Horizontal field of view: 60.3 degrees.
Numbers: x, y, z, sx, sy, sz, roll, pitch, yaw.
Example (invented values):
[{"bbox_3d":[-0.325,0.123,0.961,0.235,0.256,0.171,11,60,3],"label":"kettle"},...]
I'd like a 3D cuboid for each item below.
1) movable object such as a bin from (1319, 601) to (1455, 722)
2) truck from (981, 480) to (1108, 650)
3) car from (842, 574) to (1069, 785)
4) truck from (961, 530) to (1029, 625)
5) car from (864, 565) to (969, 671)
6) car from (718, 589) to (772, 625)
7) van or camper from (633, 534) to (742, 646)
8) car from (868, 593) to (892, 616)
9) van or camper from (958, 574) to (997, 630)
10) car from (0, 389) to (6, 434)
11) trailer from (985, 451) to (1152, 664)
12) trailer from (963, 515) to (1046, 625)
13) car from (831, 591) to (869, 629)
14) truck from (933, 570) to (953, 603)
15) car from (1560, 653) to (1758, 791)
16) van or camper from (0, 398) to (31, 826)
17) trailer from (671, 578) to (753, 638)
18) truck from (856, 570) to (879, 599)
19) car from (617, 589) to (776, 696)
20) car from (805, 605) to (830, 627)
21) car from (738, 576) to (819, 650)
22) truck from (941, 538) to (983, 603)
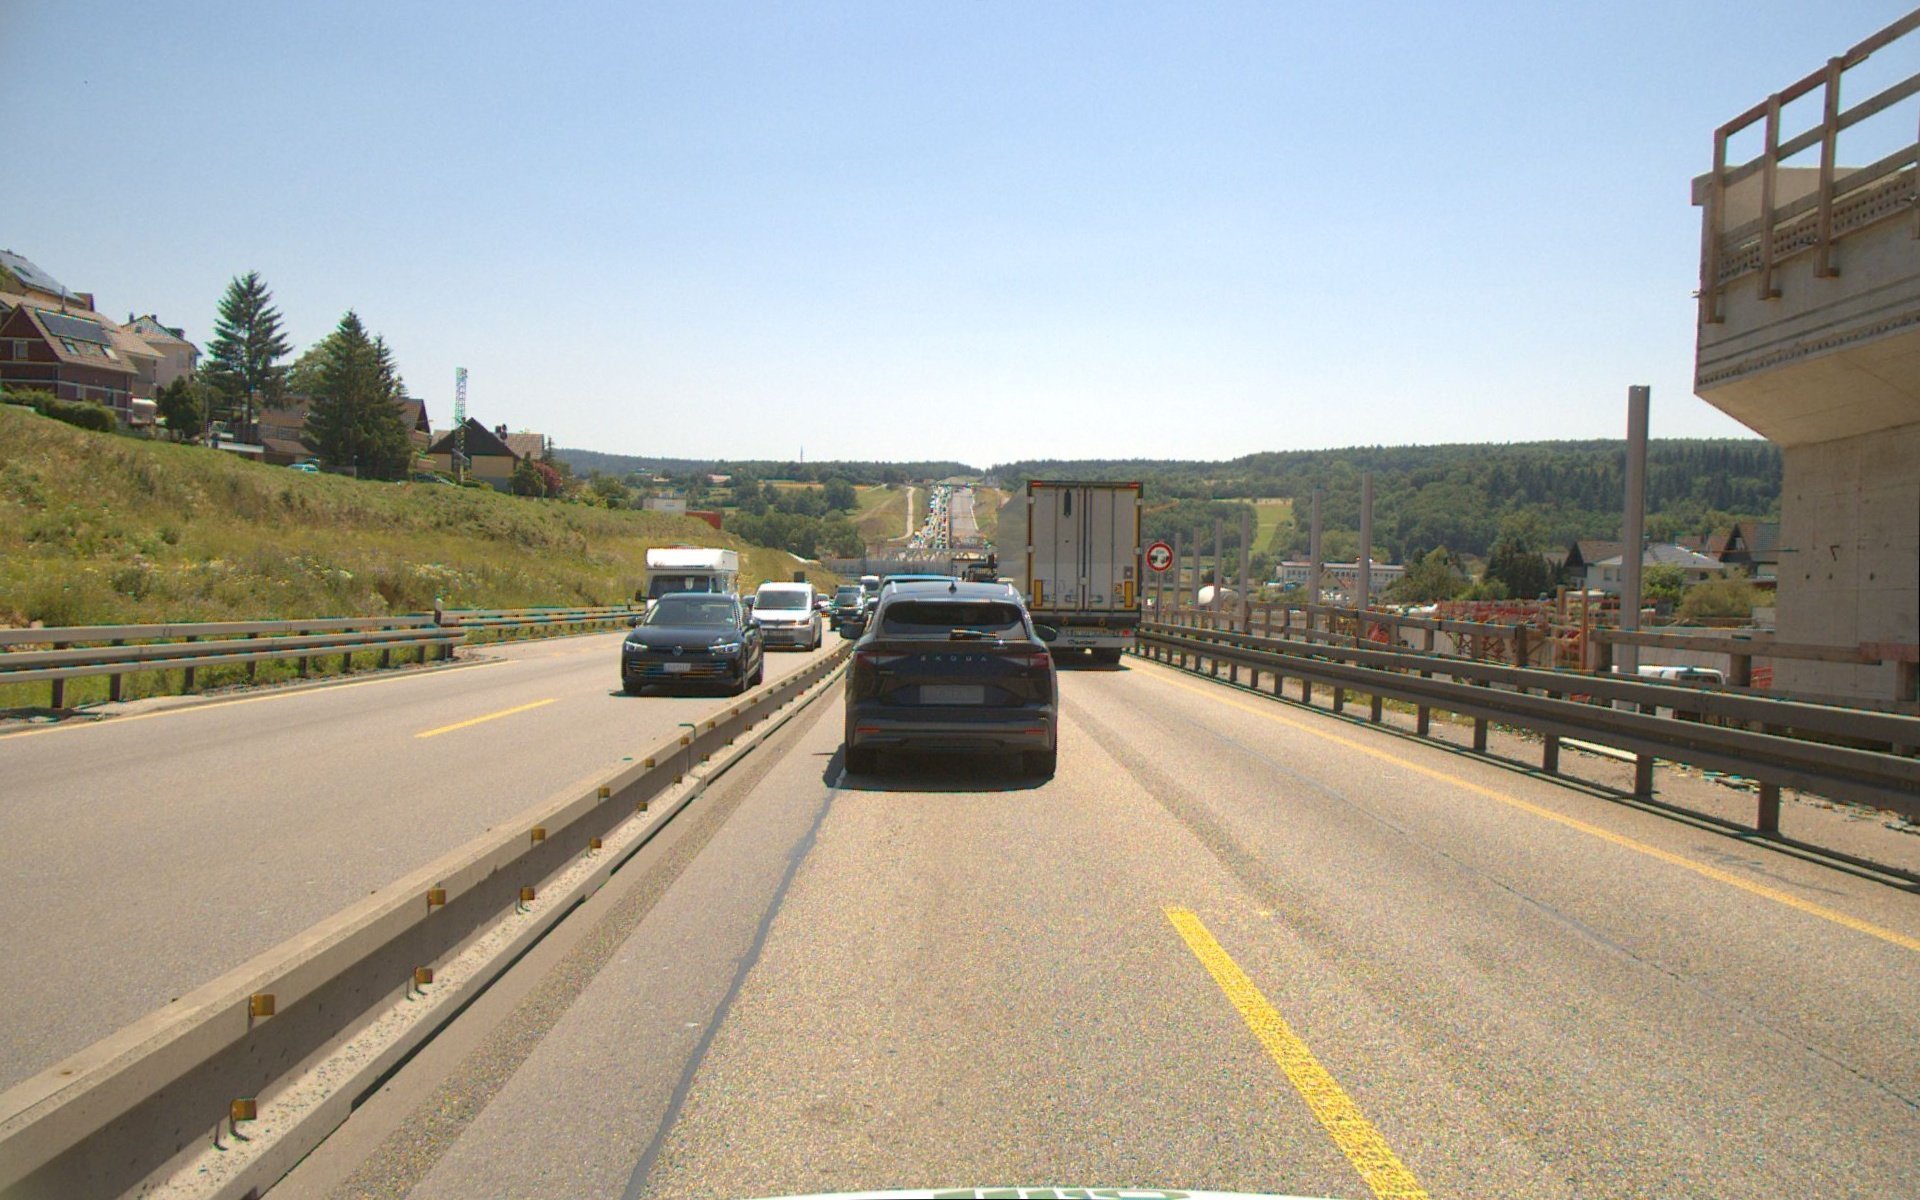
[{"bbox_3d":[18.266,2.558,71.518,3.162,4.826,9.651,1,-1,-2],"label":"movable object such as a bin"},{"bbox_3d":[2.340,-0.984,48.894,3.116,4.592,8.164,1,0,-1],"label":"truck"},{"bbox_3d":[-0.052,0.632,14.935,1.765,1.635,3.999,0,0,-1],"label":"car"},{"bbox_3d":[1.704,-1.031,84.305,3.116,4.592,8.162,1,-1,-1],"label":"truck"},{"bbox_3d":[-0.868,0.369,33.192,1.953,1.959,4.506,1,-1,-2],"label":"car"},{"bbox_3d":[-9.207,0.287,71.133,1.773,1.456,4.554,1,0,-1],"label":"car"},{"bbox_3d":[-8.103,-0.293,49.918,2.245,3.120,6.922,1,0,-1],"label":"van or camper"},{"bbox_3d":[-5.931,0.346,122.765,1.770,1.668,4.170,0,0,-2],"label":"car"},{"bbox_3d":[1.089,0.195,101.580,2.339,3.338,6.469,0,-1,1],"label":"van or camper"},{"bbox_3d":[-46.805,-9.055,76.895,2.301,2.077,4.814,1,-1,-4],"label":"car"},{"bbox_3d":[2.459,-0.973,42.438,3.116,4.592,13.105,1,0,-1],"label":"trailer"},{"bbox_3d":[1.884,-1.138,77.163,3.116,4.592,14.961,1,-1,-1],"label":"trailer"},{"bbox_3d":[-4.584,0.401,69.041,1.453,1.531,2.804,0,0,-1],"label":"car"},{"bbox_3d":[-2.395,-1.857,226.013,2.586,4.267,9.281,1,-1,-1],"label":"truck"},{"bbox_3d":[16.767,2.814,40.160,2.100,2.906,7.024,0,-1,2],"label":"car"},{"bbox_3d":[-6.851,0.067,7.106,2.096,2.618,6.562,1,0,-1],"label":"van or camper"},{"bbox_3d":[-8.310,0.254,55.838,2.059,1.927,5.140,1,0,-1],"label":"trailer"},{"bbox_3d":[-11.854,-1.964,212.768,2.723,3.737,6.275,1,0,-2],"label":"truck"},{"bbox_3d":[-3.994,0.596,25.775,1.805,1.501,4.833,0,0,-1],"label":"car"},{"bbox_3d":[-9.237,1.041,107.077,1.527,1.426,3.464,1,-1,-4],"label":"car"},{"bbox_3d":[-4.862,0.322,44.861,1.800,1.860,5.038,1,0,-2],"label":"car"},{"bbox_3d":[0.108,-2.152,126.991,2.795,4.543,11.912,1,-1,-2],"label":"truck"}]
